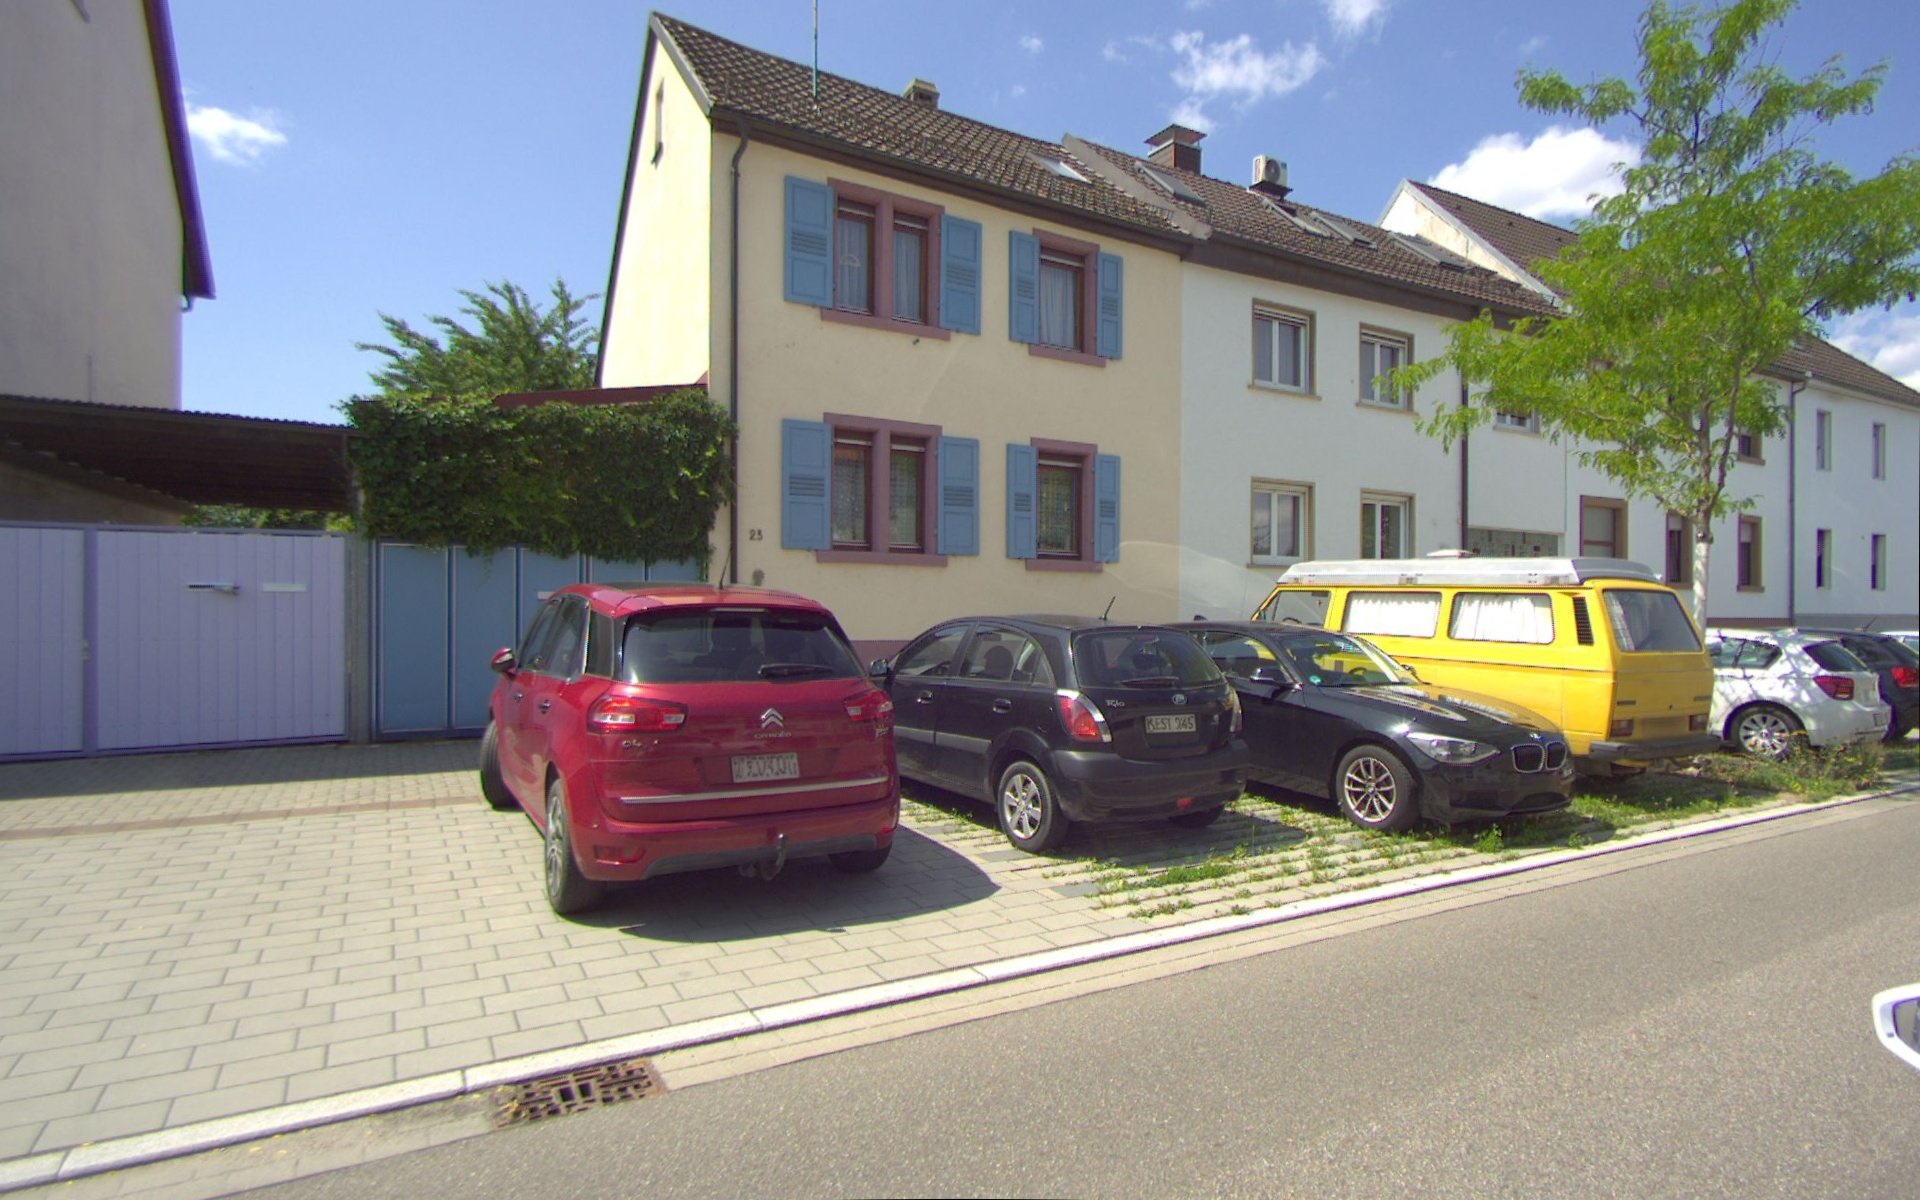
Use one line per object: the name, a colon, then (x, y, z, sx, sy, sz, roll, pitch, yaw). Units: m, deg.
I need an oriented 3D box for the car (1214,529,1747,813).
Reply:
car: (4.904, 0.540, 10.220, 1.902, 2.206, 4.487, 1, 0, -30)

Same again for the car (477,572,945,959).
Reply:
car: (-1.936, 0.686, 6.527, 1.821, 1.633, 4.232, 1, 0, -30)

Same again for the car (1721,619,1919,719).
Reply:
car: (15.479, 1.138, 16.606, 1.752, 1.487, 4.277, 2, 0, -28)

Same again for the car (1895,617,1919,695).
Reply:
car: (21.475, 1.226, 19.790, 1.755, 1.589, 4.158, 2, 0, -33)

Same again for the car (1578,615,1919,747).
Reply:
car: (11.105, 1.018, 14.043, 1.644, 1.487, 3.849, 2, 0, -38)

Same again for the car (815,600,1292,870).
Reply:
car: (0.456, 0.786, 7.772, 1.736, 1.479, 3.770, 1, 0, -32)

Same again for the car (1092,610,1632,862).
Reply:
car: (3.020, 0.885, 8.426, 1.734, 1.479, 3.991, 1, 0, -30)

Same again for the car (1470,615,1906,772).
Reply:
car: (8.762, 1.002, 12.409, 1.738, 1.487, 4.040, 1, 0, -38)
